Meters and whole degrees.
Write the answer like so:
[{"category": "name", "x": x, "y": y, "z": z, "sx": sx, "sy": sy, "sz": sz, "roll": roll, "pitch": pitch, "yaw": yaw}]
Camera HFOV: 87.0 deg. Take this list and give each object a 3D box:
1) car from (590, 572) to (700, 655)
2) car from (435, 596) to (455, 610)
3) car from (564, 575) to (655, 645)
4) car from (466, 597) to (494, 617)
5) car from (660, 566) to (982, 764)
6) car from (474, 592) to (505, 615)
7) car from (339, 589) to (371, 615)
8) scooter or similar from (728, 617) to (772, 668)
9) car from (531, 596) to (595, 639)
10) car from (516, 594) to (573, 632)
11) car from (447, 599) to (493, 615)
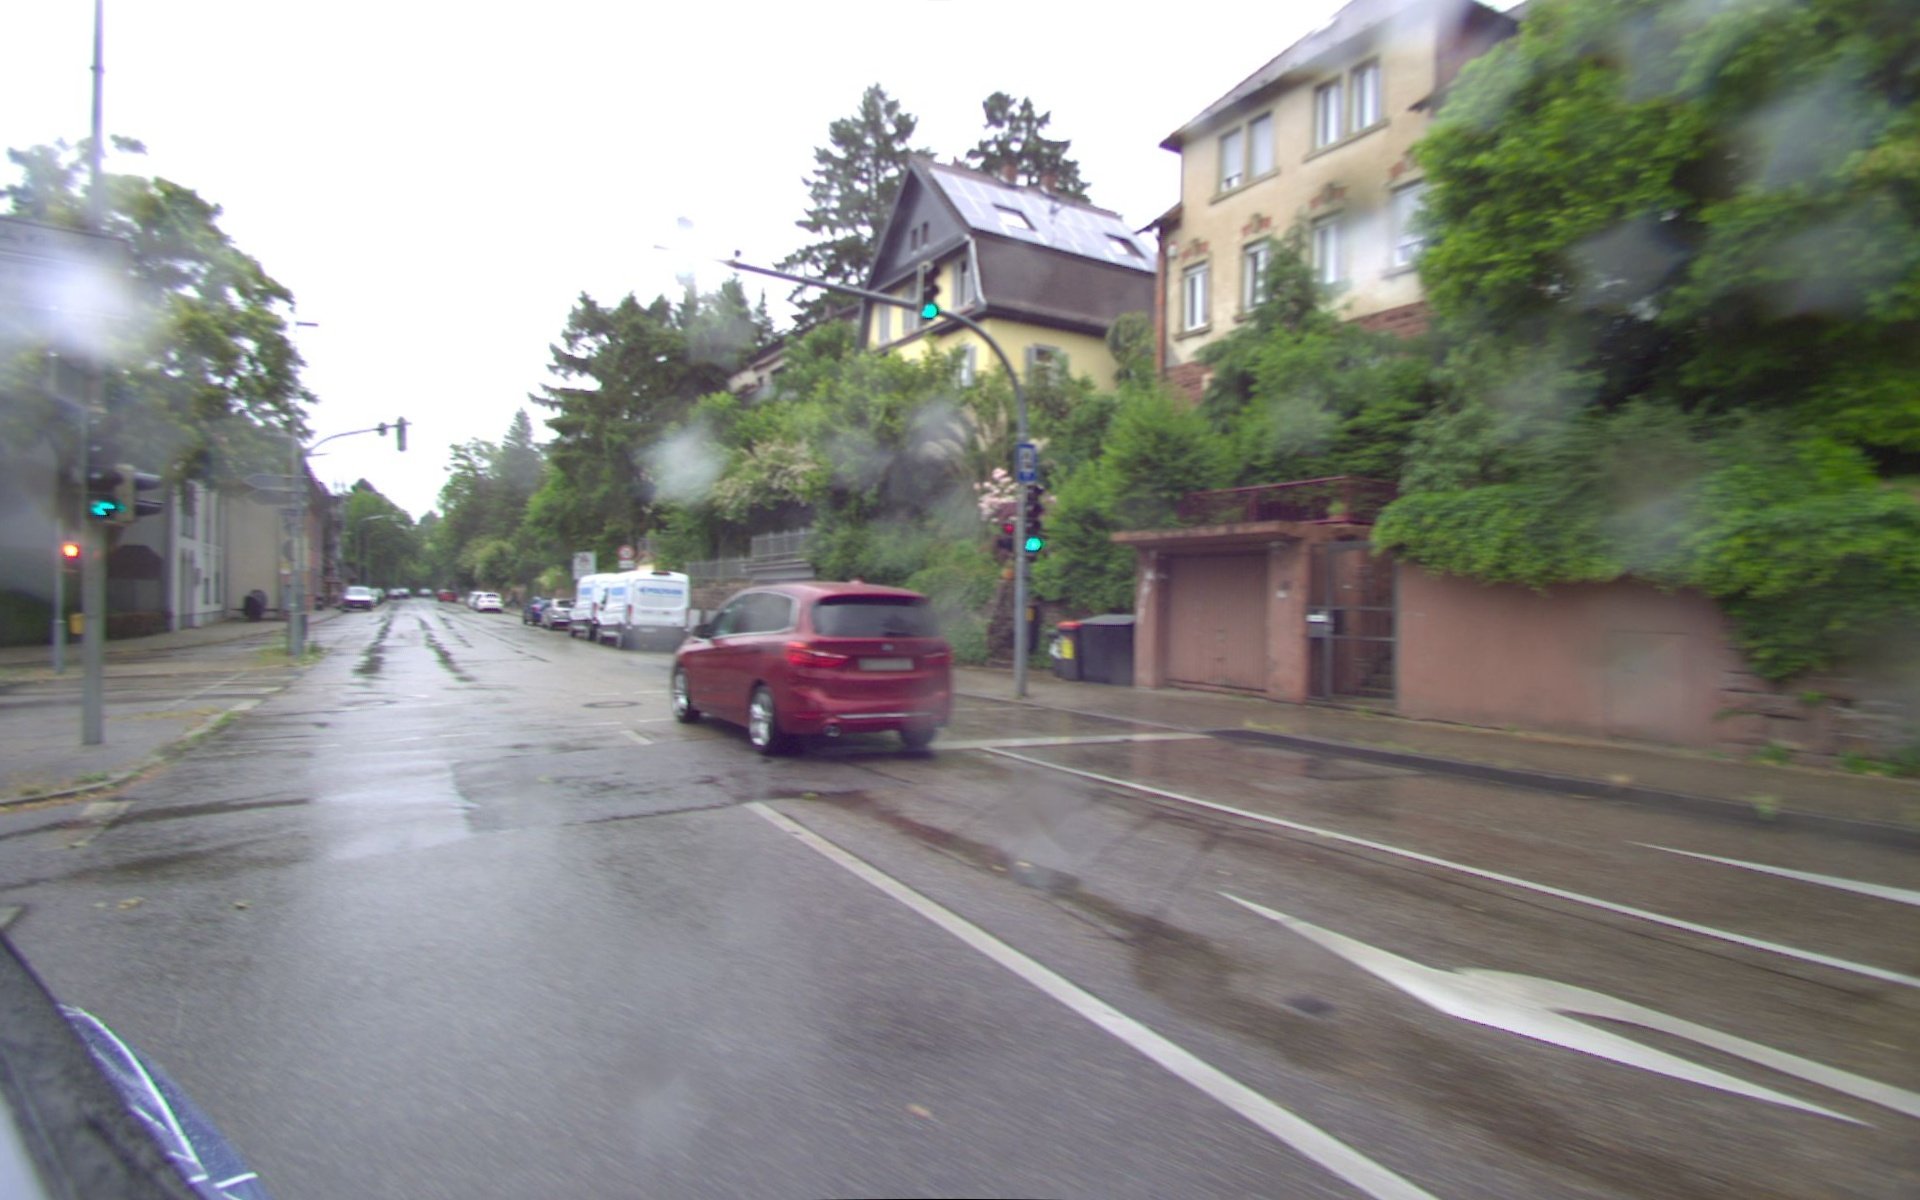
[{"category": "car", "x": -10.619, "y": 0.390, "z": 33.753, "sx": 2.276, "sy": 2.513, "sz": 5.697, "roll": 1, "pitch": 0, "yaw": -30}, {"category": "car", "x": -64.939, "y": 0.371, "z": 127.592, "sx": 1.895, "sy": 1.664, "sz": 3.991, "roll": 1, "pitch": -2, "yaw": -33}, {"category": "car", "x": -13.724, "y": 0.335, "z": 39.361, "sx": 2.276, "sy": 2.513, "sz": 5.598, "roll": 1, "pitch": 0, "yaw": -30}, {"category": "car", "x": -41.378, "y": 0.605, "z": 87.192, "sx": 1.895, "sy": 1.667, "sz": 4.012, "roll": 1, "pitch": -2, "yaw": -30}, {"category": "car", "x": -1.711, "y": 0.586, "z": 10.692, "sx": 1.744, "sy": 1.613, "sz": 4.597, "roll": 1, "pitch": -2, "yaw": -30}, {"category": "car", "x": -36.163, "y": 0.308, "z": 77.706, "sx": 1.787, "sy": 1.658, "sz": 4.012, "roll": 1, "pitch": -2, "yaw": -30}, {"category": "car", "x": -47.199, "y": 0.182, "z": 78.898, "sx": 2.048, "sy": 1.973, "sz": 4.461, "roll": 1, "pitch": -2, "yaw": -32}, {"category": "scooter or similar", "x": -5.685, "y": 1.141, "z": 27.388, "sx": 1.084, "sy": 1.345, "sz": 0.459, "roll": 0, "pitch": -2, "yaw": 17}, {"category": "car", "x": -19.228, "y": 0.788, "z": 48.861, "sx": 2.074, "sy": 1.867, "sz": 5.598, "roll": 1, "pitch": 0, "yaw": -30}, {"category": "car", "x": -22.550, "y": 0.685, "z": 54.796, "sx": 2.074, "sy": 1.867, "sz": 5.598, "roll": 1, "pitch": 0, "yaw": -30}, {"category": "car", "x": -46.487, "y": 0.716, "z": 96.120, "sx": 3.814, "sy": 1.453, "sz": 1.823, "roll": 1, "pitch": -2, "yaw": -22}]
